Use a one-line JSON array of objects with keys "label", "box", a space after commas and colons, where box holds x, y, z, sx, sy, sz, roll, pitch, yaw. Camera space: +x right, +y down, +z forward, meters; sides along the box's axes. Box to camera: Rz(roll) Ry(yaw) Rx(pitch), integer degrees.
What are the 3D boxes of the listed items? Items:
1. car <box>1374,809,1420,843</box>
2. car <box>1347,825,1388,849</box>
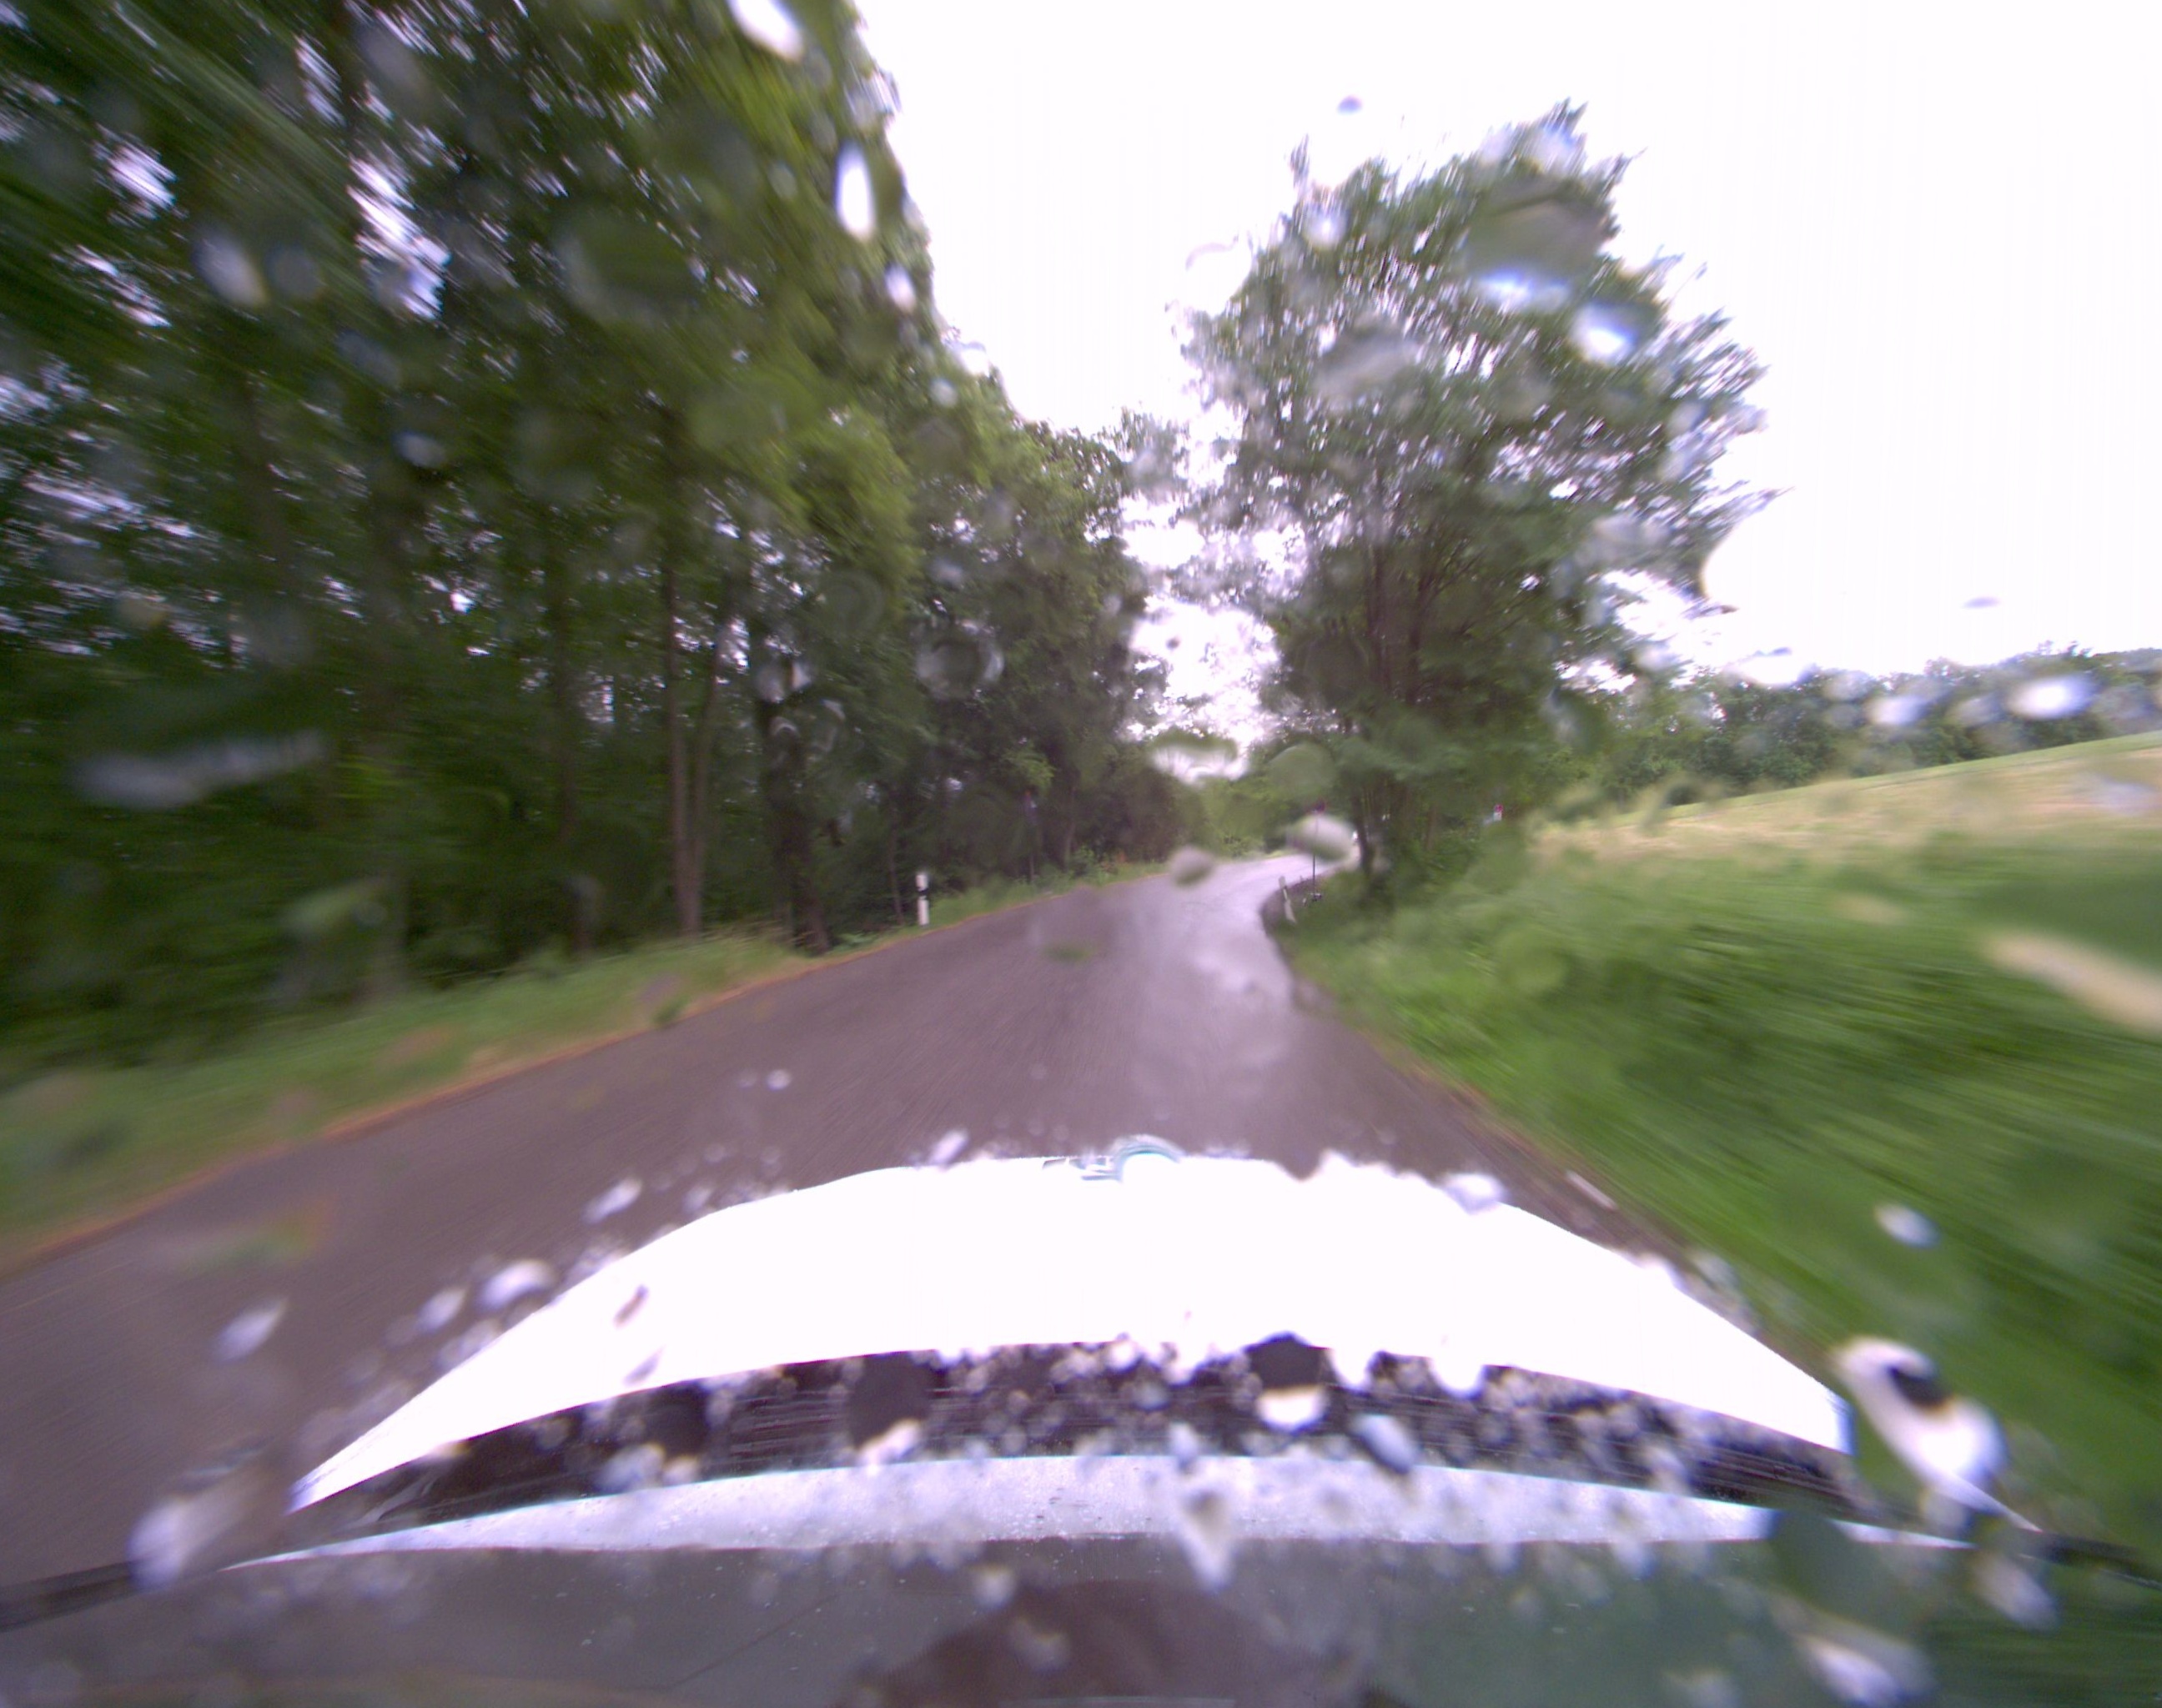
[{"label": "car", "box": [28.942, -2.589, 74.527, 2.250, 2.696, 6.089, -5, 1, 36]}, {"label": "car", "box": [23.374, -1.386, 66.283, 1.843, 1.595, 4.525, -4, 1, 36]}]
